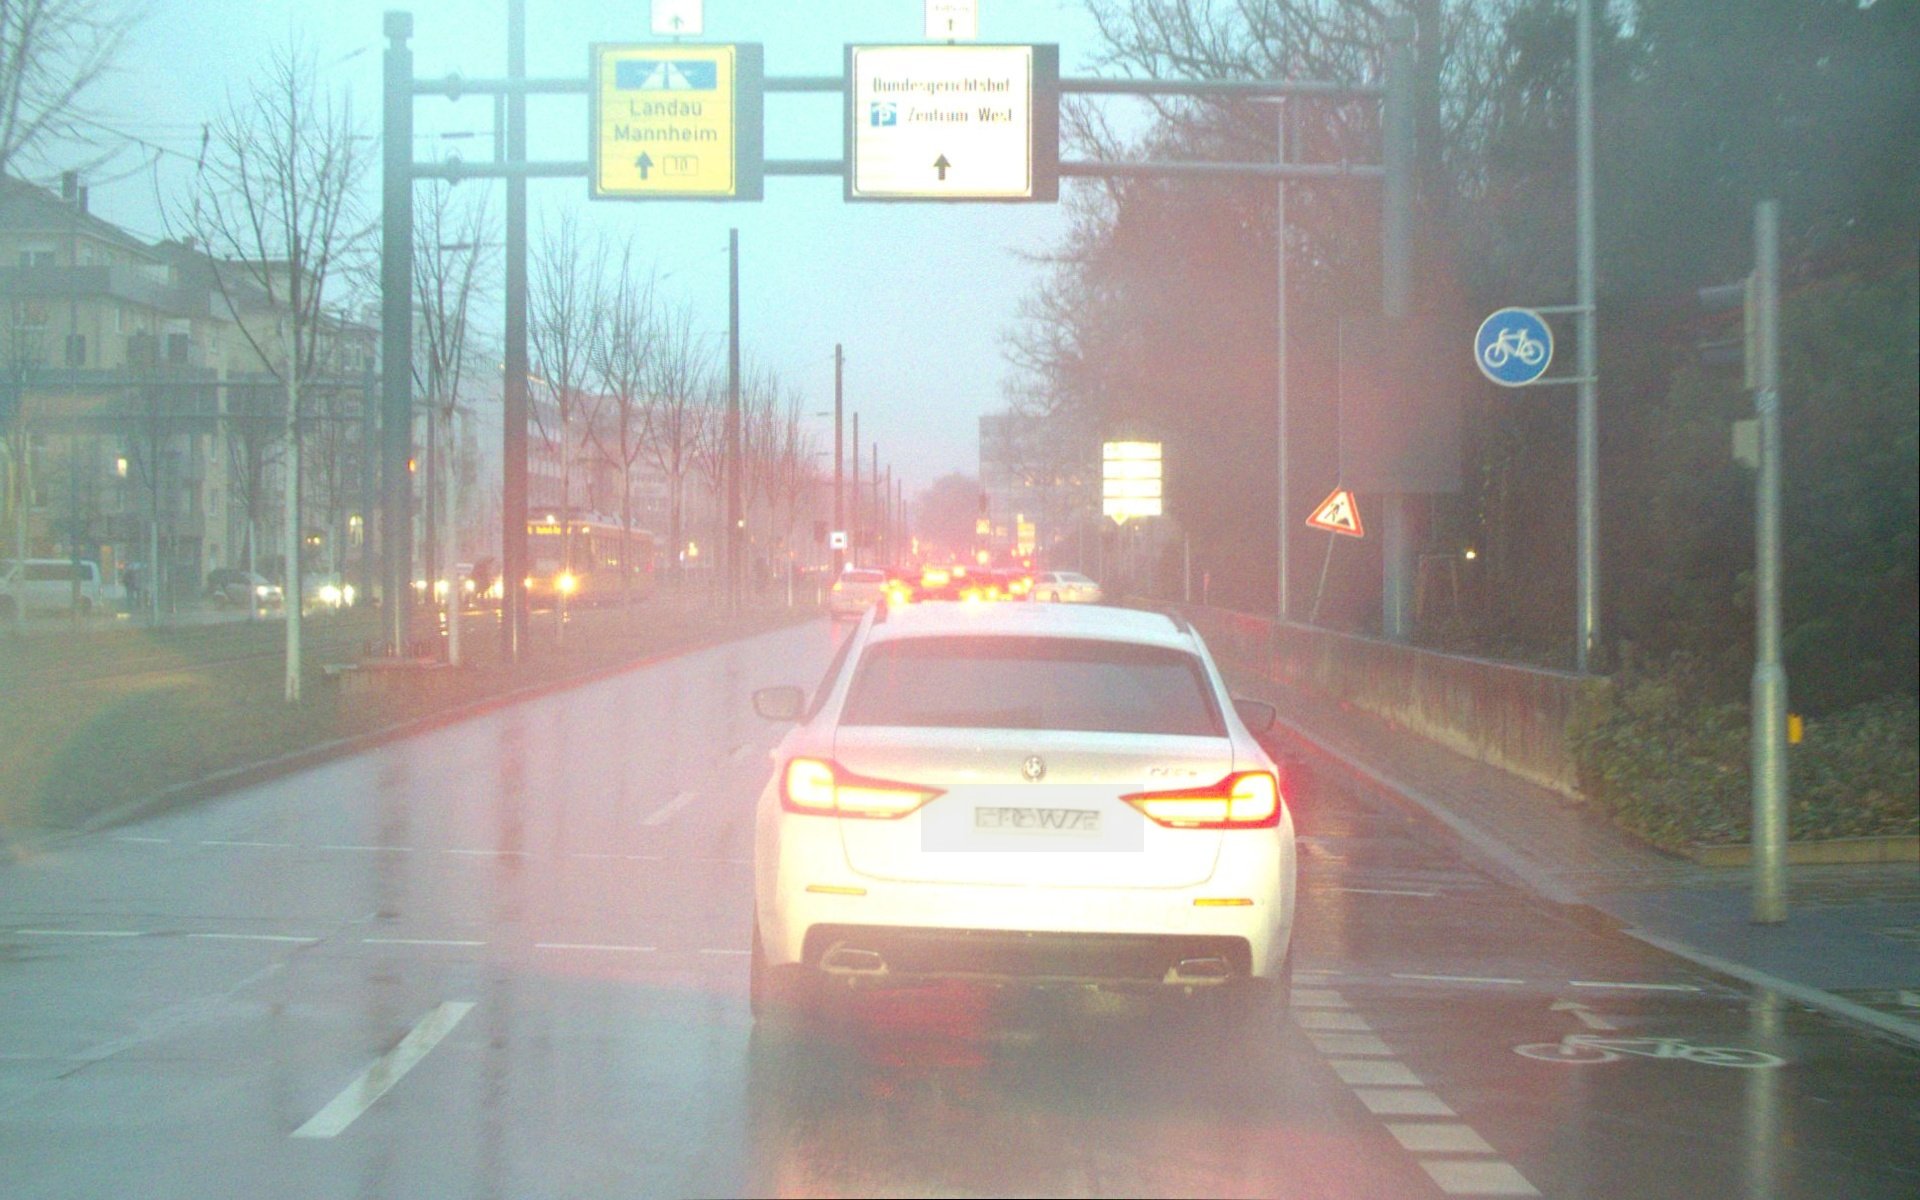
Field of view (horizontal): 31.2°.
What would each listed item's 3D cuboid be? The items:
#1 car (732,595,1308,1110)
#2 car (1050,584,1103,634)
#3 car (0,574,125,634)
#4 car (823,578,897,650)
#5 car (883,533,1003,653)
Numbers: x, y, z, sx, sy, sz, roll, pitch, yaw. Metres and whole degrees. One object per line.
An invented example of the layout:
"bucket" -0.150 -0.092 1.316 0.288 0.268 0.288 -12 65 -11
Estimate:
"car" 0.063 0.787 12.838 1.759 1.547 4.252 2 0 -3
"car" 4.821 0.354 142.243 1.993 2.007 4.000 2 0 0
"car" -31.434 0.139 118.219 4.870 2.007 1.999 0 1 -41
"car" -2.882 0.395 100.118 1.993 2.007 4.000 2 0 0
"car" -0.296 -0.131 60.854 1.993 2.007 4.000 2 0 0
